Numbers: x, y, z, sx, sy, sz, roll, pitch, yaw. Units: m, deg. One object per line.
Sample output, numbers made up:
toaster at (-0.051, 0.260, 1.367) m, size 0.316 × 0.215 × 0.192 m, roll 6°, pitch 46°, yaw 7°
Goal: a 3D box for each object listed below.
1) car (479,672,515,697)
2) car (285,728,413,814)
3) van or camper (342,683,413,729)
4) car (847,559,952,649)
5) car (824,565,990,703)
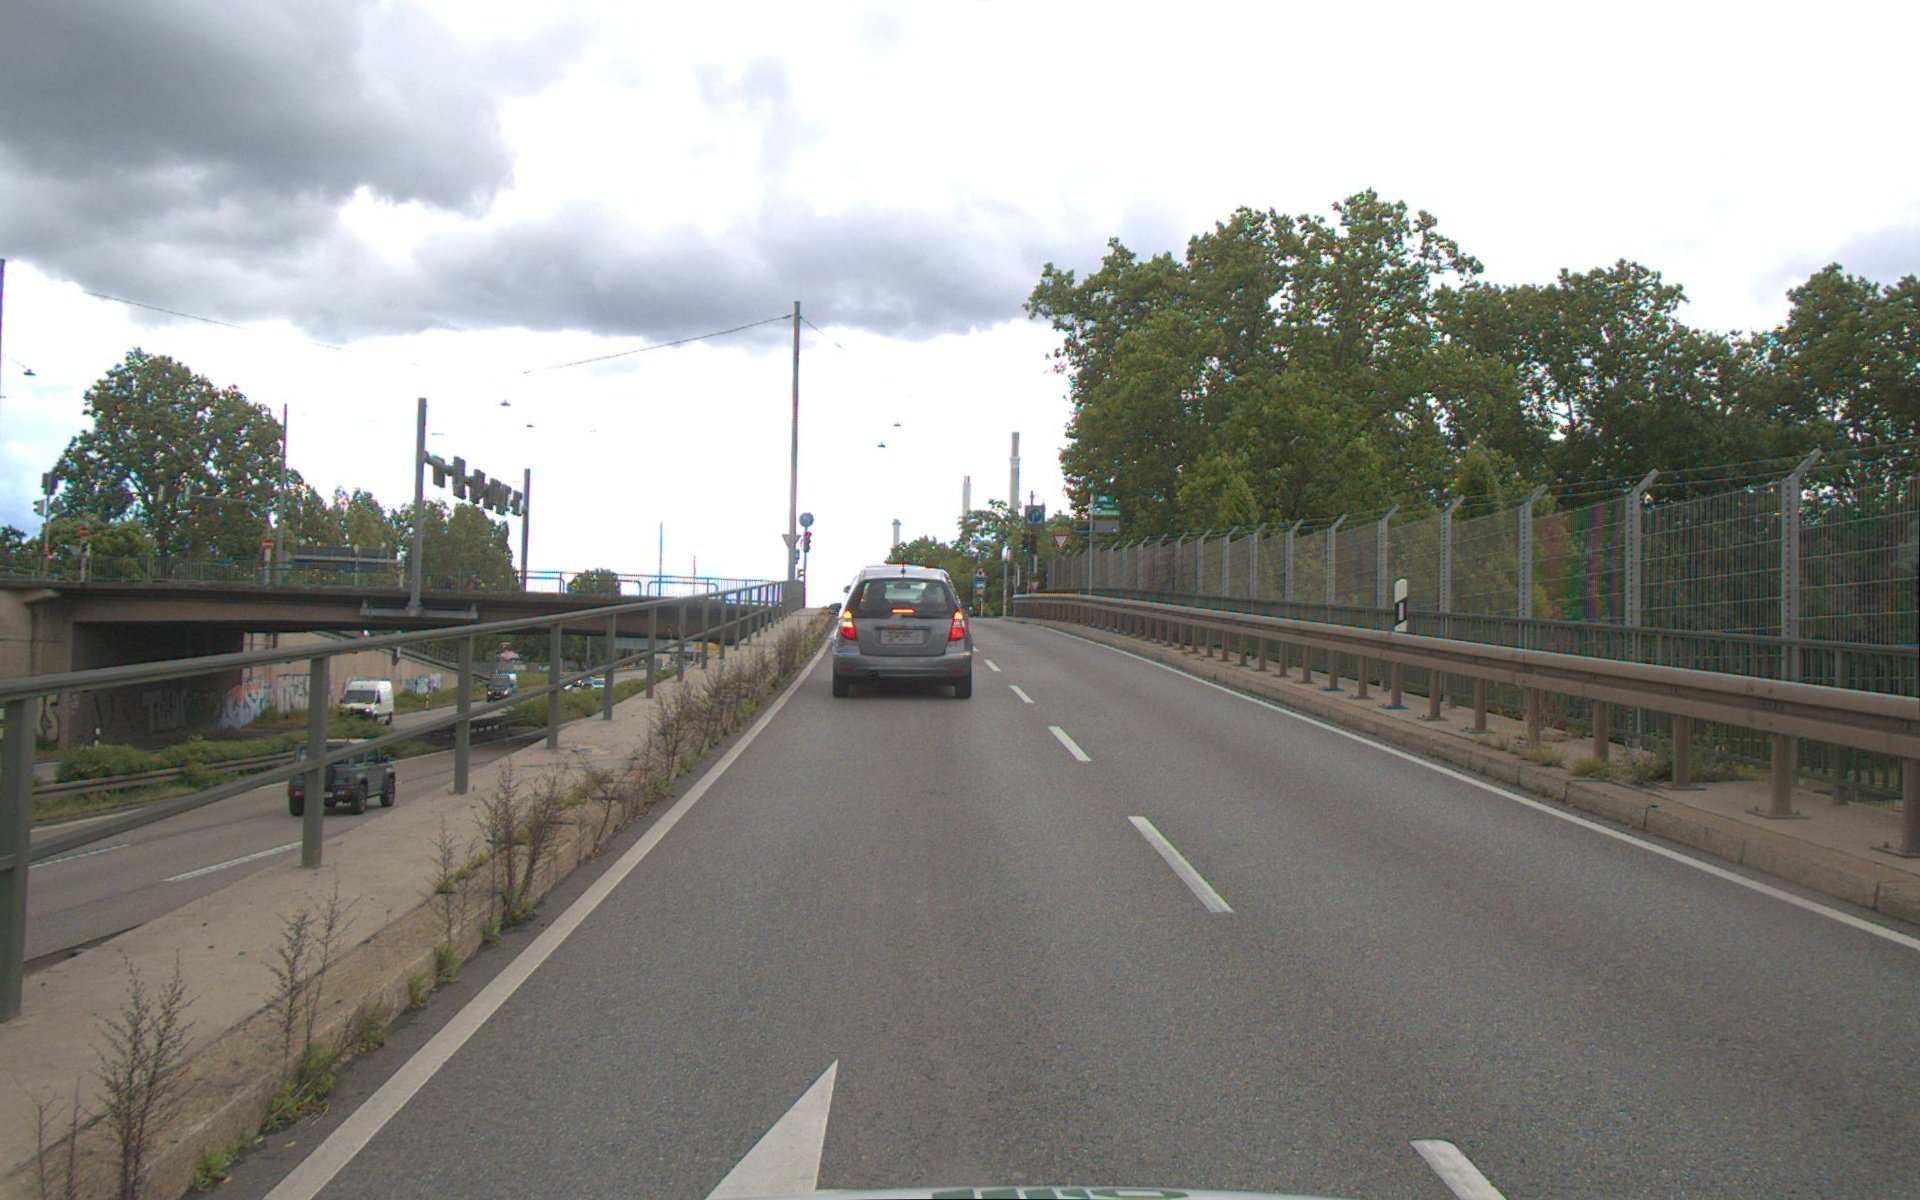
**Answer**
car at (-41.677, 7.621, 149.007) m, size 2.248 × 2.193 × 6.170 m, roll 0°, pitch -3°, yaw -8°
car at (-14.543, 4.043, 39.575) m, size 1.647 × 1.766 × 3.996 m, roll 0°, pitch -2°, yaw -1°
van or camper at (-34.133, 6.174, 97.107) m, size 2.139 × 2.500 × 6.342 m, roll 1°, pitch -3°, yaw -3°
car at (-1.198, 0.022, 32.792) m, size 1.953 × 1.631 × 3.999 m, roll 0°, pitch 2°, yaw -2°
car at (-0.592, 0.361, 21.638) m, size 1.713 × 1.608 × 4.087 m, roll 1°, pitch 1°, yaw 4°
